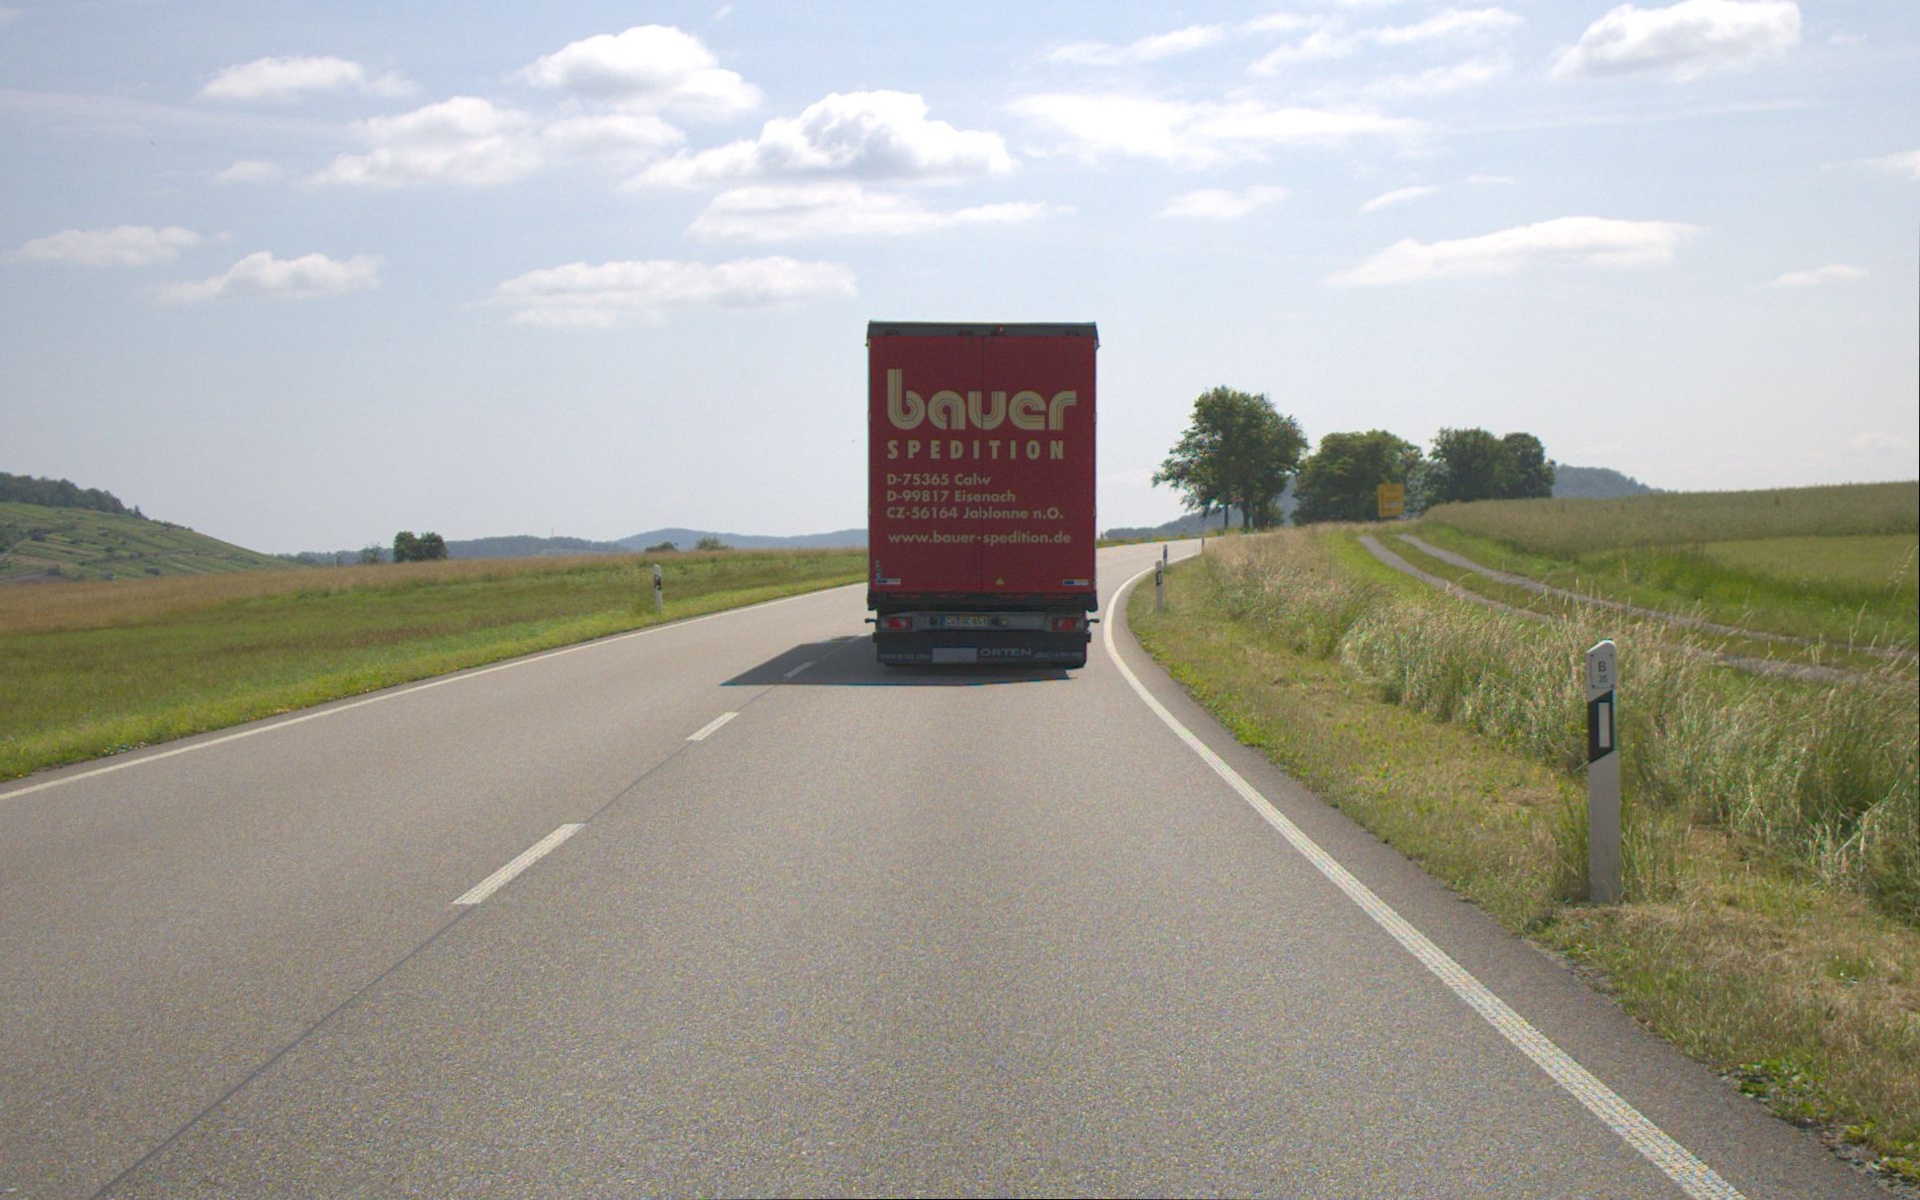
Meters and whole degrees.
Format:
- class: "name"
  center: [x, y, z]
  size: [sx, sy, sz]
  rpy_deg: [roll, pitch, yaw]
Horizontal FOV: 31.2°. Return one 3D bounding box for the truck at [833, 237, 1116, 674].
- class: "truck"
  center: [0.239, -1.666, 42.265]
  size: [2.975, 4.697, 9.366]
  rpy_deg: [1, 1, 1]
